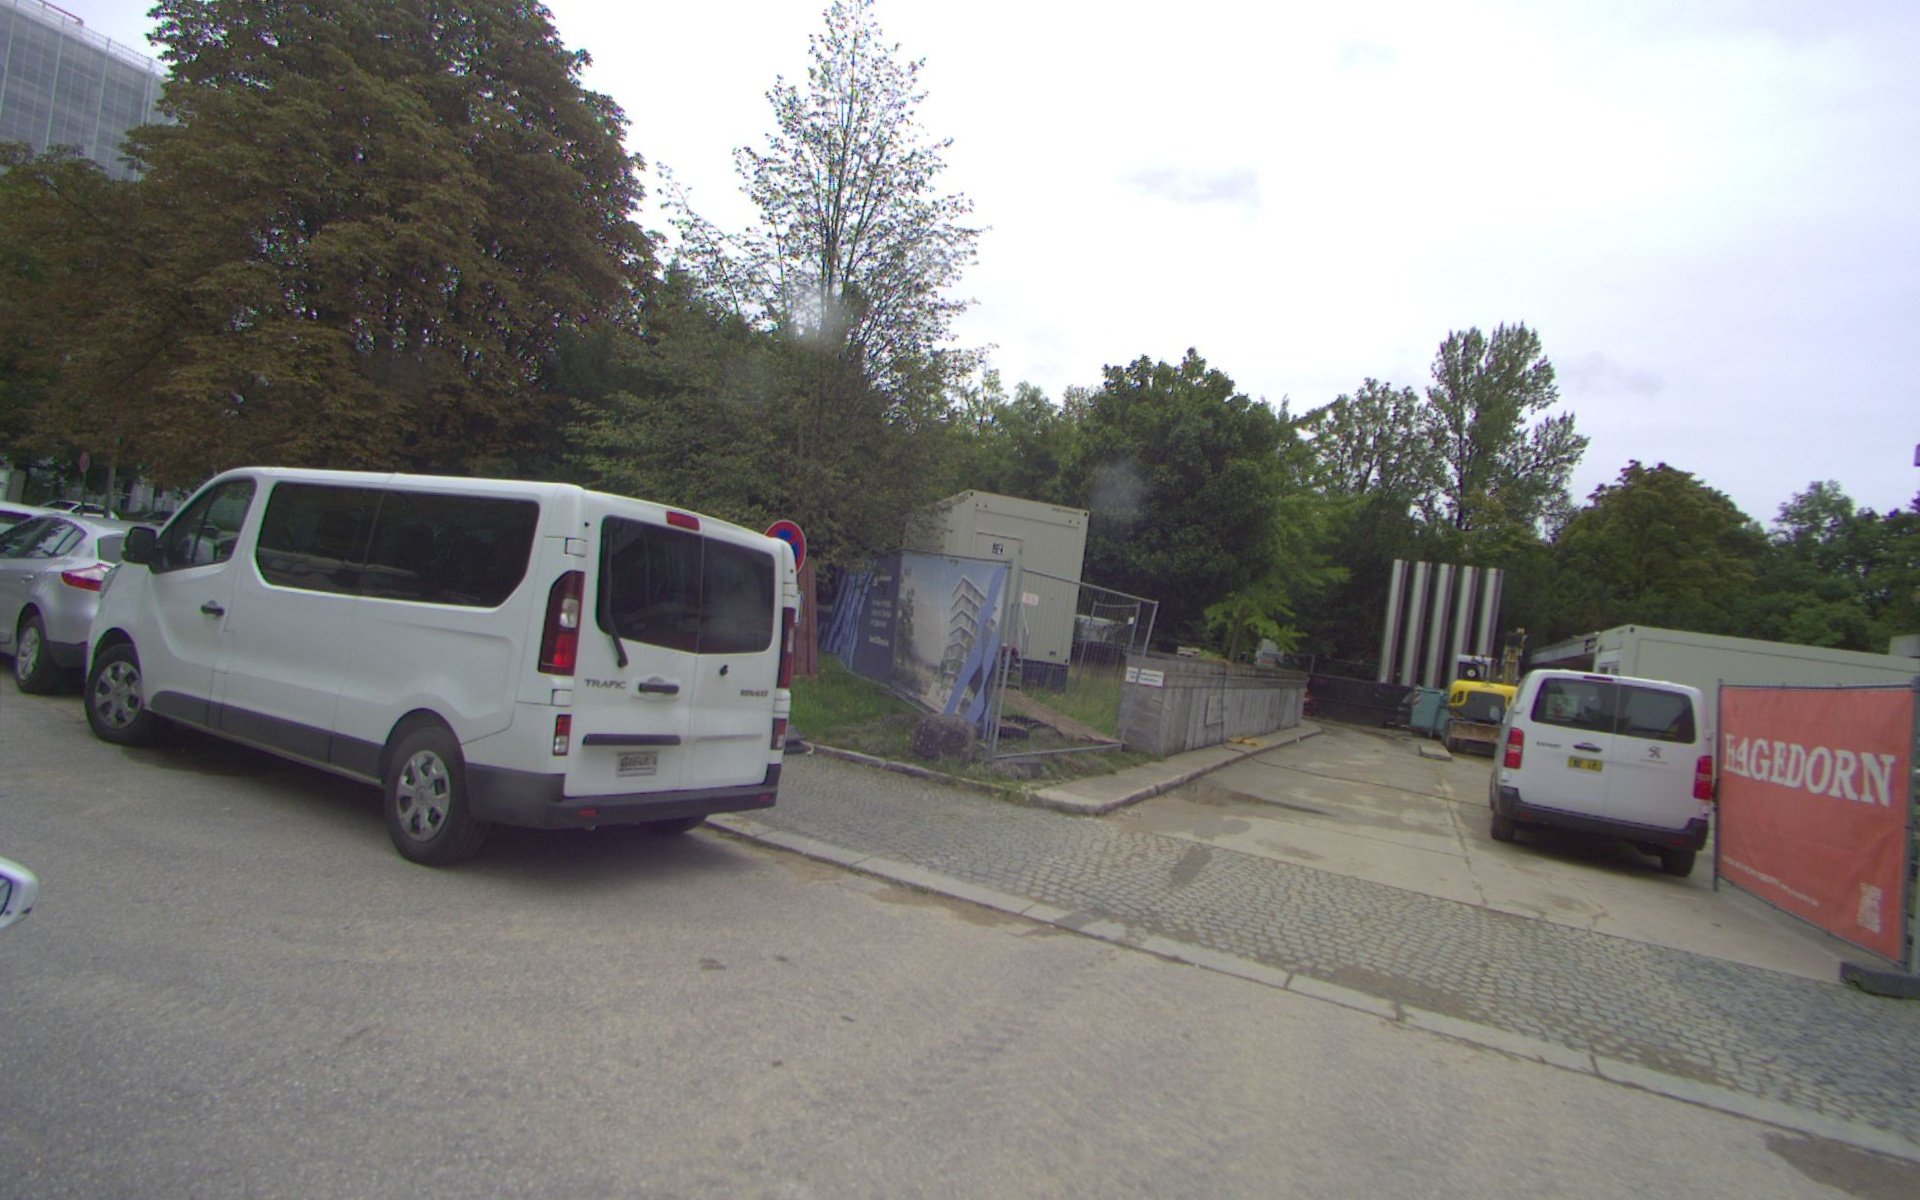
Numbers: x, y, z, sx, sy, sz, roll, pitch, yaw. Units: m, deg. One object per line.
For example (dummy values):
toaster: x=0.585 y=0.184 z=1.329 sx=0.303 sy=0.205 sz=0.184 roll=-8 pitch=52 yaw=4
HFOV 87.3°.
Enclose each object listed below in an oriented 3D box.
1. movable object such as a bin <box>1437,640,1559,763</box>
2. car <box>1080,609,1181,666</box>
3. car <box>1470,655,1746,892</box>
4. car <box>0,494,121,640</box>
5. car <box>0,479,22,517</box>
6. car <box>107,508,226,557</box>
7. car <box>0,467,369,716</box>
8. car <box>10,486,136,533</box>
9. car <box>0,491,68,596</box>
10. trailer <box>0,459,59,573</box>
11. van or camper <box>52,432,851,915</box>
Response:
movable object such as a bin: x=16.666 y=3.120 z=31.363 sx=2.754 sy=3.138 sz=5.074 roll=8 pitch=-1 yaw=27
car: x=10.221 y=2.246 z=60.420 sx=5.359 sy=2.612 sz=2.076 roll=8 pitch=0 yaw=23
car: x=7.300 y=1.838 z=11.887 sx=1.965 sy=1.944 sz=4.775 roll=7 pitch=-2 yaw=26
car: x=-12.069 y=-0.564 z=12.362 sx=4.157 sy=1.504 sz=1.766 roll=7 pitch=-1 yaw=38
car: x=-40.239 y=-4.341 z=40.113 sx=1.807 sy=1.478 sz=4.005 roll=7 pitch=0 yaw=-1
car: x=-39.255 y=-3.311 z=49.912 sx=1.856 sy=1.624 sz=4.403 roll=7 pitch=-3 yaw=10
car: x=-7.783 y=-0.152 z=9.348 sx=4.376 sy=1.747 sz=1.998 roll=7 pitch=-2 yaw=32
car: x=-39.969 y=-4.051 z=45.467 sx=1.768 sy=1.400 sz=4.220 roll=7 pitch=-1 yaw=2
car: x=-16.011 y=-1.070 z=16.253 sx=4.268 sy=1.455 sz=1.869 roll=7 pitch=1 yaw=42
trailer: x=-19.390 y=-1.766 z=19.867 sx=1.800 sy=2.038 sz=4.785 roll=8 pitch=-1 yaw=-37
van or camper: x=-3.539 y=0.181 z=6.615 sx=5.286 sy=2.038 sz=1.997 roll=7 pitch=-1 yaw=31
